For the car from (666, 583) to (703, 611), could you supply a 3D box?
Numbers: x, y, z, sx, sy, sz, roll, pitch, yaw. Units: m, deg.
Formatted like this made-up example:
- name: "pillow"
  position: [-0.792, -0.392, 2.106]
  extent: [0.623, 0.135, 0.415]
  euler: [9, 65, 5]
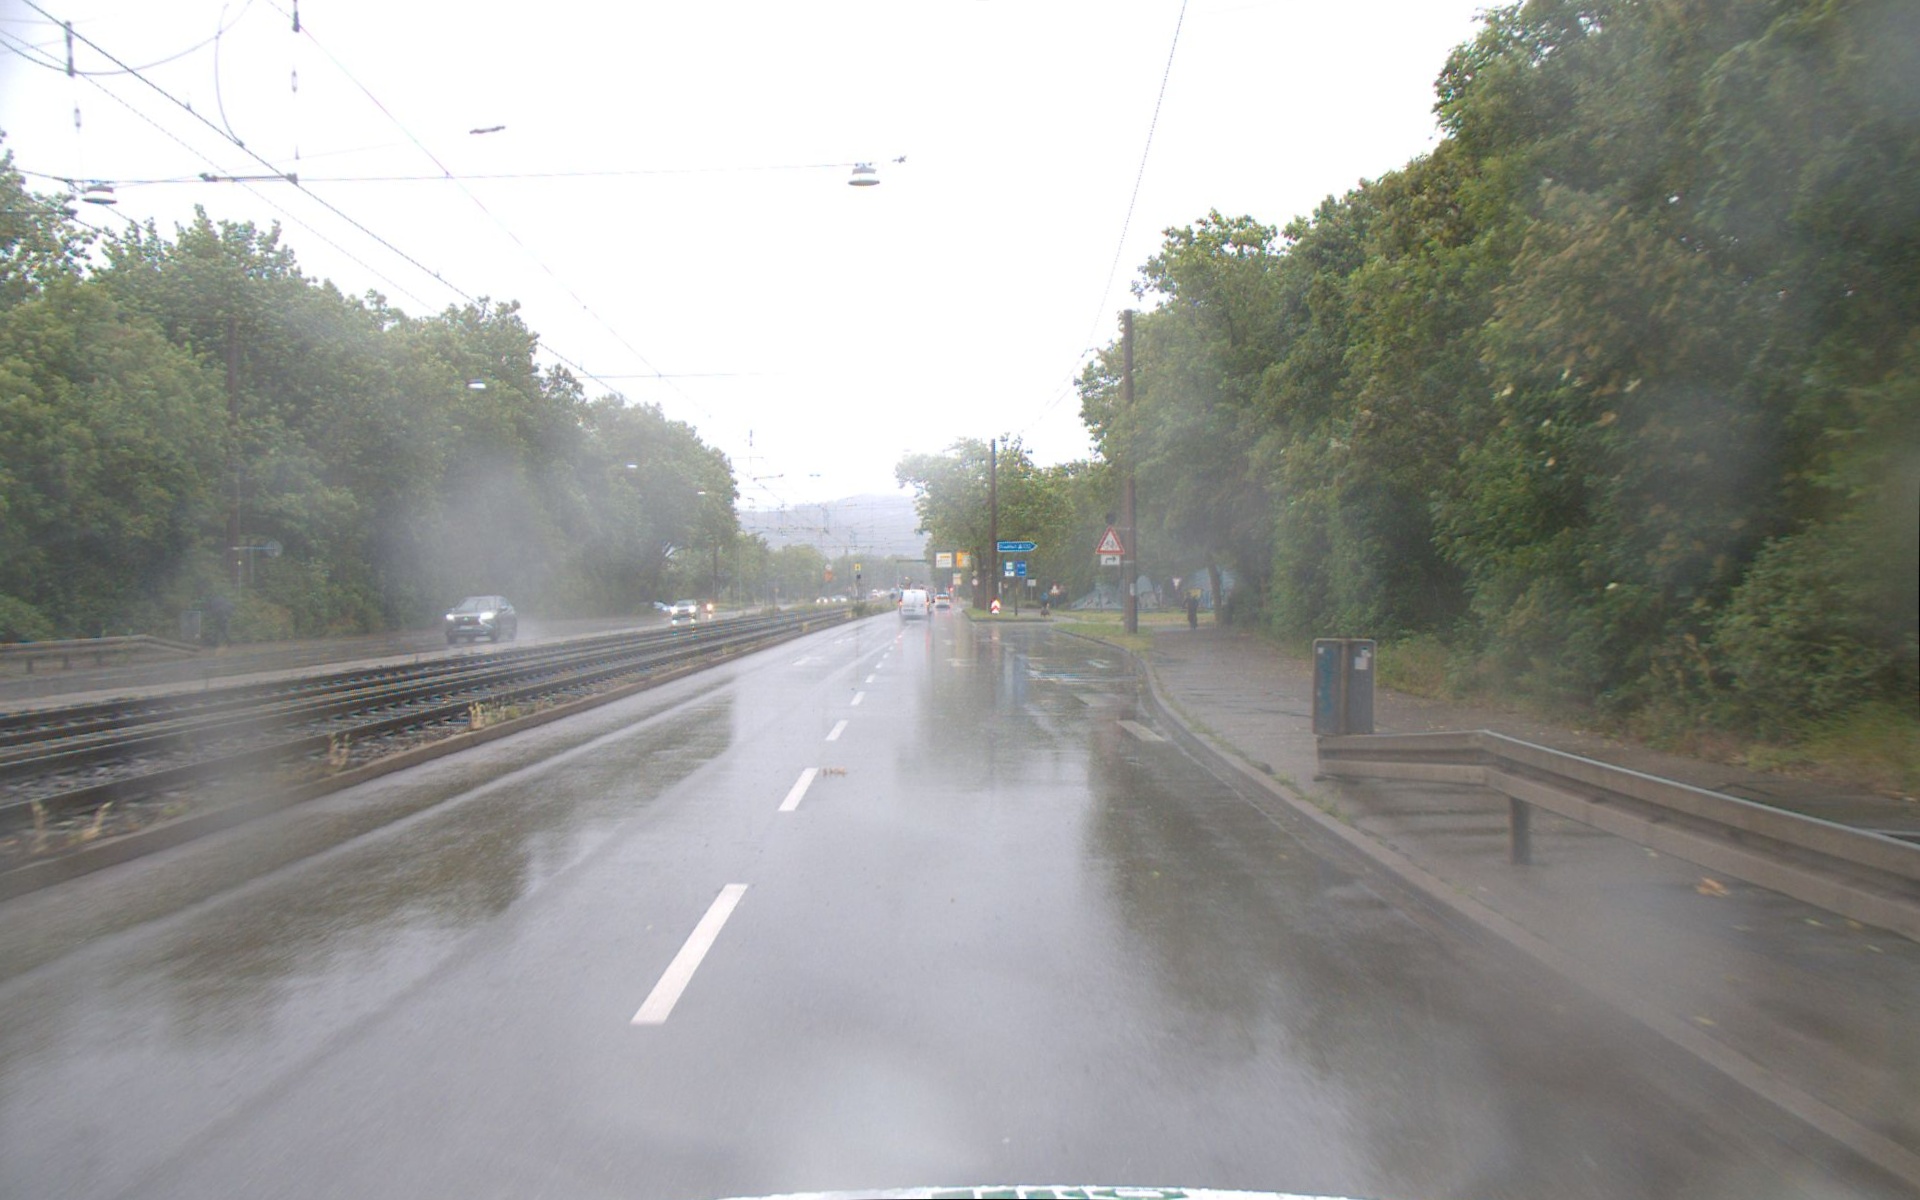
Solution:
- name: "car"
  position: [-19.885, -0.256, 119.598]
  extent: [1.954, 1.813, 3.999]
  euler: [4, 1, -2]

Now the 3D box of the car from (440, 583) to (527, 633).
- name: "car"
  position: [-17.475, 0.252, 60.922]
  extent: [1.953, 1.701, 4.870]
  euler: [0, 1, -2]

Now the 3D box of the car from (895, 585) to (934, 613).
- name: "car"
  position: [-2.477, -0.072, 90.143]
  extent: [2.035, 1.445, 3.999]
  euler: [-1, 0, -1]
